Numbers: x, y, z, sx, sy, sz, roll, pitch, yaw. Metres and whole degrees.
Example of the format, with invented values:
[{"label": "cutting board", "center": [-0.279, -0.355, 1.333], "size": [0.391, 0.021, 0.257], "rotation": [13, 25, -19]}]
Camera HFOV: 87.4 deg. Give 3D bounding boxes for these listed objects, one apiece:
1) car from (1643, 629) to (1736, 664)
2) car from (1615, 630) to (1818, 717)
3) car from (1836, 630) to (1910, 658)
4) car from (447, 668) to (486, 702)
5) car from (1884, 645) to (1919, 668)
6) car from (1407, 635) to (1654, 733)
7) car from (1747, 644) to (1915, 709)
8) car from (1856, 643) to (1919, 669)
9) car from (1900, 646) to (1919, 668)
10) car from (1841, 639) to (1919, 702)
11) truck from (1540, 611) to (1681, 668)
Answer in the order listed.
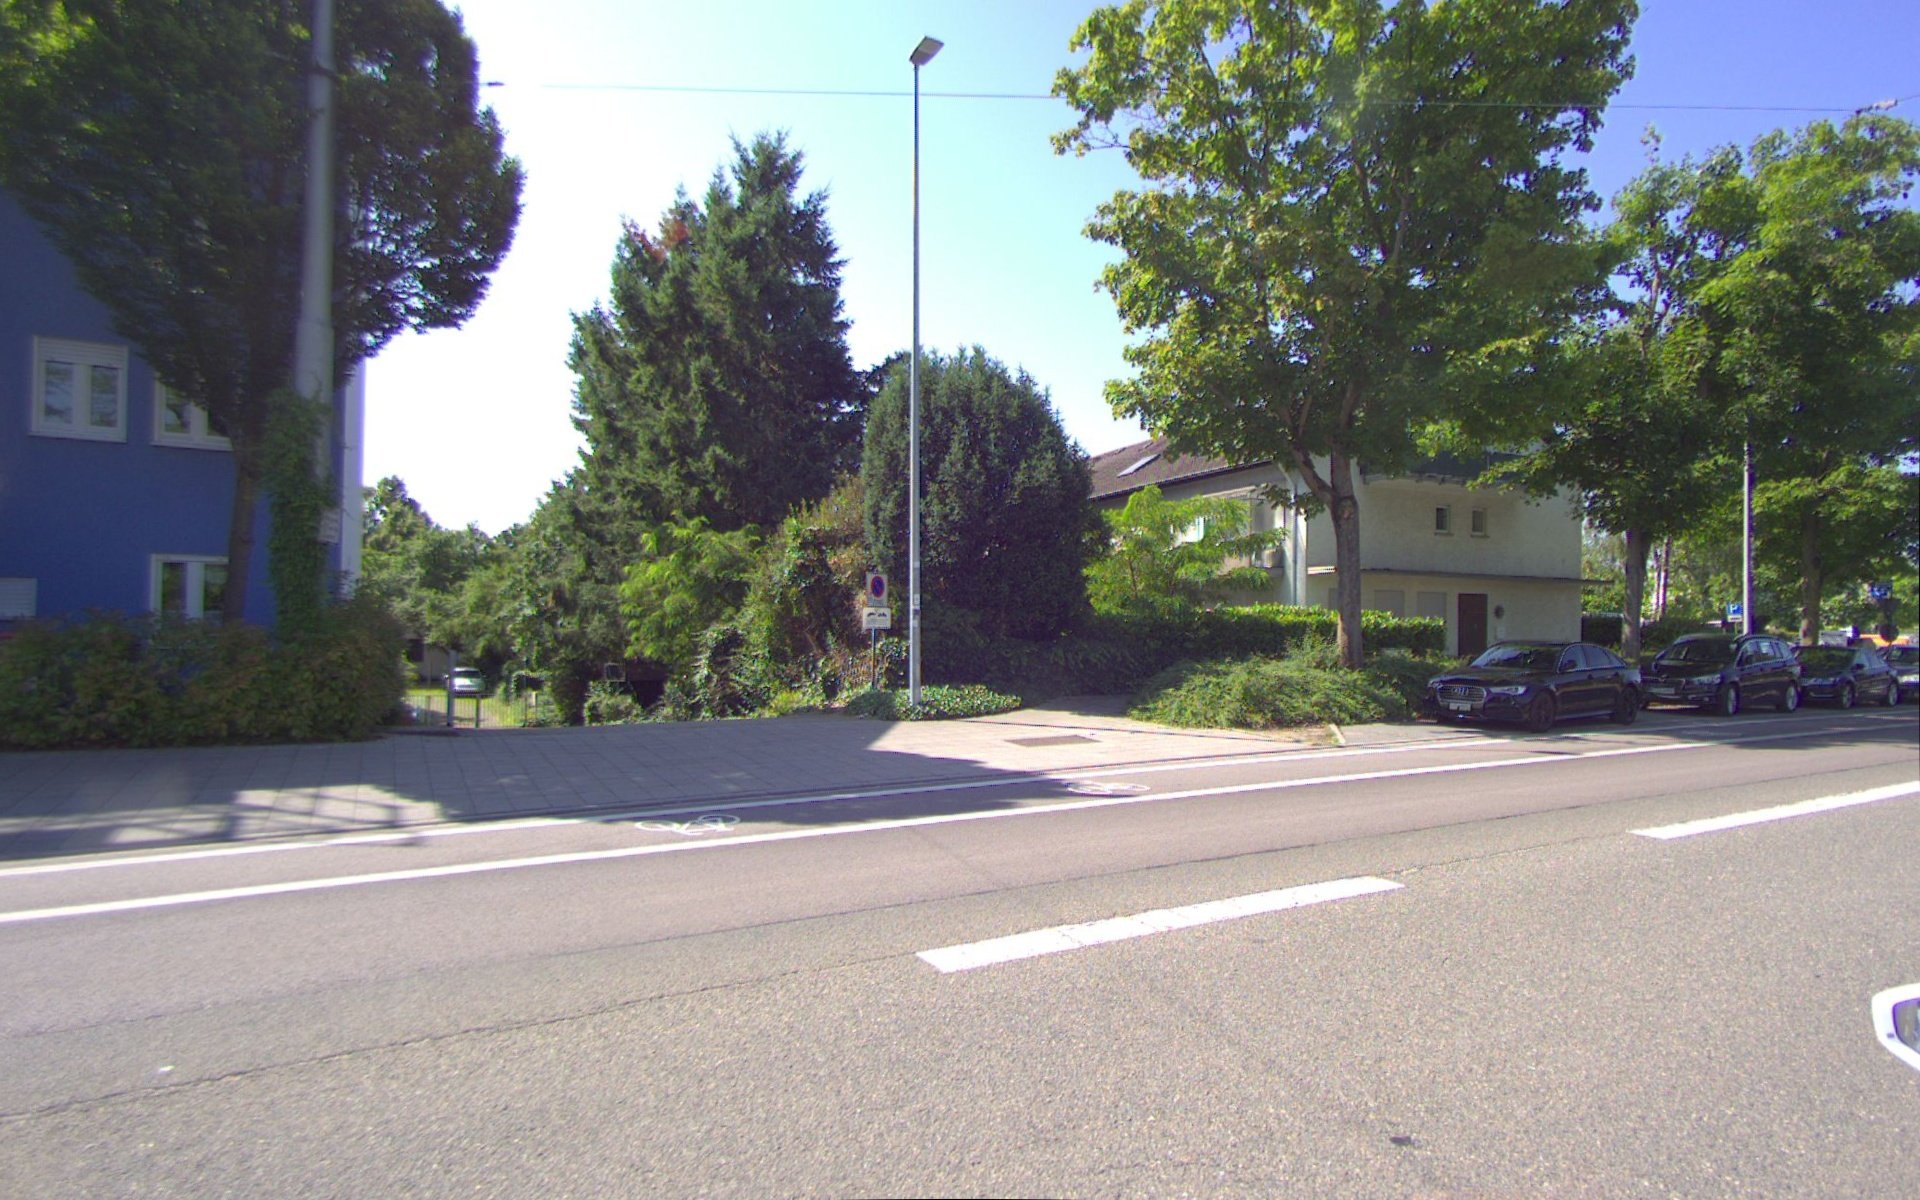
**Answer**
[{"label": "car", "center": [49.221, 3.130, 67.862], "size": [1.980, 2.040, 4.663], "rotation": [2, 0, -34]}, {"label": "car", "center": [16.094, 1.505, 21.301], "size": [4.837, 1.627, 1.753], "rotation": [2, -1, -31]}, {"label": "car", "center": [76.835, 3.703, 84.559], "size": [1.981, 2.040, 4.228], "rotation": [2, 0, -35]}, {"label": "car", "center": [-26.364, 4.482, 53.595], "size": [1.627, 1.344, 3.968], "rotation": [0, 2, -30]}, {"label": "car", "center": [55.313, 3.225, 56.974], "size": [1.748, 1.281, 3.973], "rotation": [1, -2, -27]}, {"label": "car", "center": [10.106, 1.392, 17.657], "size": [4.859, 1.485, 1.829], "rotation": [2, -2, -34]}, {"label": "car", "center": [21.005, 1.780, 24.184], "size": [4.727, 1.398, 1.682], "rotation": [2, -2, -31]}, {"label": "car", "center": [52.906, 3.127, 56.067], "size": [1.748, 1.368, 3.973], "rotation": [1, -2, -27]}, {"label": "car", "center": [57.404, 3.330, 58.205], "size": [1.748, 1.241, 3.973], "rotation": [1, -2, -27]}, {"label": "car", "center": [25.127, 1.826, 26.482], "size": [3.956, 1.470, 1.634], "rotation": [2, 0, -29]}, {"label": "truck", "center": [40.398, 2.366, 62.647], "size": [2.206, 3.059, 7.102], "rotation": [1, 1, -31]}]
